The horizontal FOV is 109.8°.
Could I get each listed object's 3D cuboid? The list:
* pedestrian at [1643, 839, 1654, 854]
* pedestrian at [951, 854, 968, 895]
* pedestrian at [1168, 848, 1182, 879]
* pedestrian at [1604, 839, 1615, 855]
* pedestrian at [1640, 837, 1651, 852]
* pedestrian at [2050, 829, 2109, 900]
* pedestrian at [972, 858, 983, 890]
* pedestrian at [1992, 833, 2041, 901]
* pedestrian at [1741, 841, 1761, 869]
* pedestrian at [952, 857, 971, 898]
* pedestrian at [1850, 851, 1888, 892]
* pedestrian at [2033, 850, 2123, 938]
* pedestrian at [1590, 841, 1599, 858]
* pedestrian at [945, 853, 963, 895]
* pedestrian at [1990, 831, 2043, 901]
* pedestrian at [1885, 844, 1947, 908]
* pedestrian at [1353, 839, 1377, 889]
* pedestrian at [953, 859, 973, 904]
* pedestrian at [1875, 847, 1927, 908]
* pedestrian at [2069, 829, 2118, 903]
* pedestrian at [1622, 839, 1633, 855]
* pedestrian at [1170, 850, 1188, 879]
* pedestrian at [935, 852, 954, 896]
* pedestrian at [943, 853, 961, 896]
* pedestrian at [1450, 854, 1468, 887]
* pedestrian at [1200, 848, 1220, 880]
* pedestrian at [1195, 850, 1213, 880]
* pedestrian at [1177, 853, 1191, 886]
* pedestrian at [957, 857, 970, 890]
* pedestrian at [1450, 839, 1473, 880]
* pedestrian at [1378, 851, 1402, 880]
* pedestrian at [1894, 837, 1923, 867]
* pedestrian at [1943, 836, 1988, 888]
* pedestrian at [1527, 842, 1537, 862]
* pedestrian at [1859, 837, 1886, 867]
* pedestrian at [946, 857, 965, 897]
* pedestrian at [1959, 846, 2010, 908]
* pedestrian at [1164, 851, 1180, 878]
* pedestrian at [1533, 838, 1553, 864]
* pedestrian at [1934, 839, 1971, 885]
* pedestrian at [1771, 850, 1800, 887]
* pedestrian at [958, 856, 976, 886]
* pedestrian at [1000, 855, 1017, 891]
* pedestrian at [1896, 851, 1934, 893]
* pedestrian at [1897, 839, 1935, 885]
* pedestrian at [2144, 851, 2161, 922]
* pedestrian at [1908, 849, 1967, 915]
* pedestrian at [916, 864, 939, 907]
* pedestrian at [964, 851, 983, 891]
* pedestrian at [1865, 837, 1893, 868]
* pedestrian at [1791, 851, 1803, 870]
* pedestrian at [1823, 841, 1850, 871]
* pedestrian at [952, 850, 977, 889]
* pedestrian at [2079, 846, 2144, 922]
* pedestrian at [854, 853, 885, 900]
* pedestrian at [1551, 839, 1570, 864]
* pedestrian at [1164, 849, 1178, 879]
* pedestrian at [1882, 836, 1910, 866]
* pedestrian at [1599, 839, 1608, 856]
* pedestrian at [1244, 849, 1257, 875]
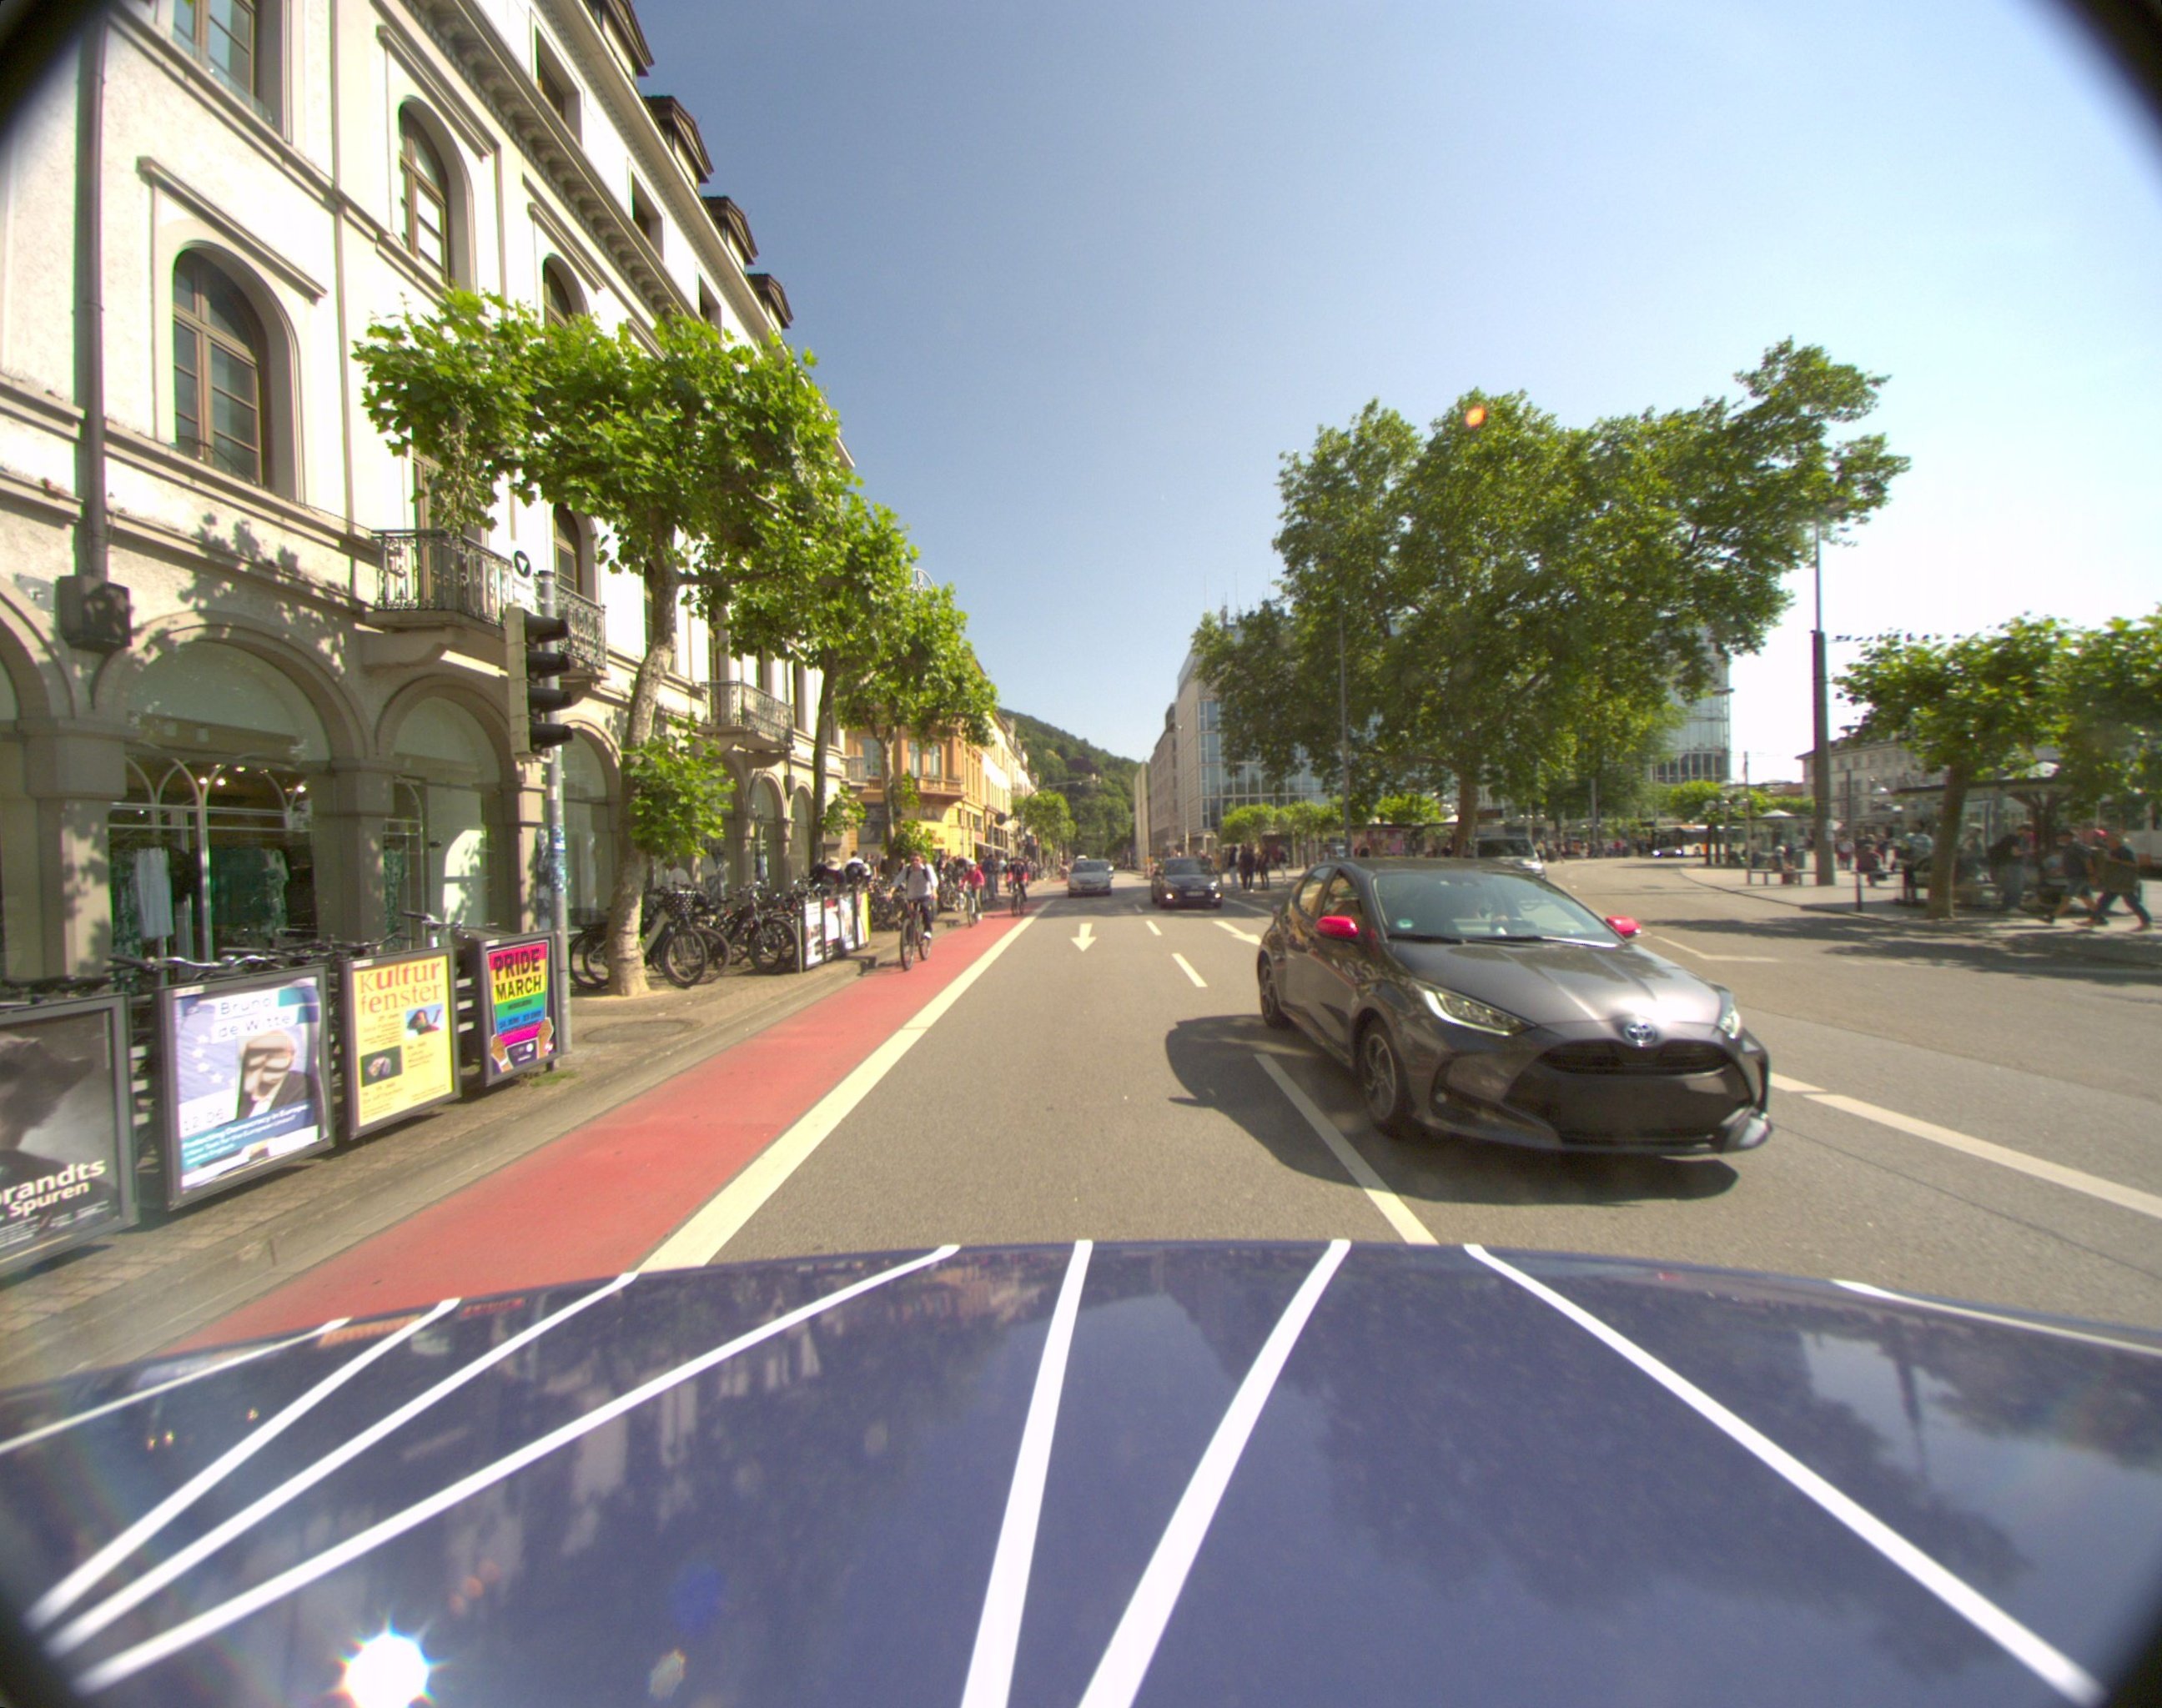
[{"bbox_3d":[56.906,-0.794,76.128,0.756,1.464,0.556,-3,1,28],"label":"pedestrian"},{"bbox_3d":[-5.491,0.929,34.364,0.578,1.792,0.697,-3,1,-2],"label":"pedestrian"},{"bbox_3d":[5.341,0.526,43.156,0.639,1.737,0.733,-3,1,-1],"label":"pedestrian"},{"bbox_3d":[50.760,-0.638,73.033,0.756,1.464,0.556,-3,1,28],"label":"pedestrian"},{"bbox_3d":[54.576,-0.927,73.475,0.756,1.464,0.556,-3,1,28],"label":"pedestrian"},{"bbox_3d":[25.437,0.271,19.364,0.680,1.767,0.578,1,0,4],"label":"pedestrian"},{"bbox_3d":[-5.481,1.070,40.284,0.444,1.679,0.478,-1,1,2],"label":"pedestrian"},{"bbox_3d":[25.729,0.342,20.900,0.577,1.830,0.682,1,0,21],"label":"pedestrian"},{"bbox_3d":[35.812,0.052,40.623,0.554,1.464,0.532,-3,1,8],"label":"pedestrian"},{"bbox_3d":[-4.741,0.928,30.154,0.578,1.574,0.622,-3,1,-2],"label":"pedestrian"},{"bbox_3d":[23.975,0.529,23.121,0.578,1.226,0.553,1,0,-11],"label":"pedestrian"},{"bbox_3d":[17.068,0.666,13.019,0.624,1.457,0.680,1,0,1],"label":"pedestrian"},{"bbox_3d":[45.543,-0.390,67.327,0.554,1.464,0.759,-3,1,37],"label":"pedestrian"},{"bbox_3d":[-5.359,0.843,32.165,0.578,1.729,0.622,-3,1,-2],"label":"pedestrian"},{"bbox_3d":[24.159,0.310,19.628,0.577,1.767,0.682,1,0,21],"label":"pedestrian"},{"bbox_3d":[19.521,0.513,17.775,0.727,1.457,0.682,1,0,21],"label":"pedestrian"},{"bbox_3d":[10.157,0.347,27.193,0.516,1.732,0.518,-3,1,-13],"label":"pedestrian"},{"bbox_3d":[-4.518,1.045,29.097,0.578,1.675,0.775,-3,1,-2],"label":"pedestrian"},{"bbox_3d":[19.957,0.558,18.503,0.623,1.457,0.681,-1,1,21],"label":"pedestrian"},{"bbox_3d":[24.883,0.295,18.679,0.526,1.767,0.486,1,0,0],"label":"pedestrian"},{"bbox_3d":[52.610,-0.686,73.161,0.756,1.464,0.556,-3,1,28],"label":"pedestrian"},{"bbox_3d":[5.997,0.632,46.608,0.876,1.737,0.733,-3,1,-1],"label":"pedestrian"},{"bbox_3d":[-5.398,0.782,30.138,0.578,1.675,0.622,-3,1,-2],"label":"pedestrian"},{"bbox_3d":[-5.340,0.847,31.506,0.578,1.714,0.622,-3,1,-2],"label":"pedestrian"},{"bbox_3d":[14.346,0.627,28.835,0.500,1.199,0.460,-3,1,34],"label":"pedestrian"},{"bbox_3d":[7.169,0.559,42.264,0.722,1.737,0.884,-3,1,-9],"label":"pedestrian"},{"bbox_3d":[7.305,0.669,45.106,0.751,1.737,0.733,-3,1,-9],"label":"pedestrian"},{"bbox_3d":[5.466,0.818,40.302,0.575,1.704,0.652,-3,1,-1],"label":"pedestrian"},{"bbox_3d":[-6.332,1.045,41.126,0.578,1.804,0.605,1,1,1],"label":"pedestrian"},{"bbox_3d":[16.666,0.227,33.278,0.537,1.737,0.613,-3,1,-9],"label":"pedestrian"},{"bbox_3d":[13.534,0.495,33.272,0.672,1.234,0.615,-3,1,-9],"label":"pedestrian"},{"bbox_3d":[40.532,-0.097,37.223,0.757,1.464,0.555,-3,1,0],"label":"pedestrian"},{"bbox_3d":[26.850,0.237,23.079,0.573,1.540,0.657,1,0,3],"label":"pedestrian"},{"bbox_3d":[34.565,-0.169,58.216,0.464,1.464,0.410,-3,1,-1],"label":"pedestrian"},{"bbox_3d":[40.495,-0.092,38.864,0.757,1.464,0.555,-3,1,0],"label":"pedestrian"},{"bbox_3d":[-5.859,1.057,35.450,0.665,1.834,0.622,-3,1,1],"label":"pedestrian"},{"bbox_3d":[21.760,0.553,18.307,0.588,1.457,0.556,1,0,21],"label":"pedestrian"},{"bbox_3d":[5.882,0.678,49.188,0.731,1.737,0.640,-3,1,25],"label":"pedestrian"},{"bbox_3d":[32.006,-0.186,52.641,0.752,1.737,0.782,-3,1,-9],"label":"pedestrian"},{"bbox_3d":[29.486,0.258,25.719,0.678,1.540,0.580,1,0,35],"label":"pedestrian"},{"bbox_3d":[23.990,0.488,25.876,0.497,1.246,0.484,-3,1,-1],"label":"pedestrian"},{"bbox_3d":[-6.909,1.051,46.186,0.733,1.794,0.749,-1,0,23],"label":"pedestrian"},{"bbox_3d":[-3.560,0.914,37.437,0.606,1.726,0.647,-3,2,-22],"label":"pedestrian"},{"bbox_3d":[24.012,0.522,21.876,0.545,1.195,0.526,1,0,-11],"label":"pedestrian"},{"bbox_3d":[28.864,0.271,26.279,0.679,1.540,0.579,1,0,21],"label":"pedestrian"},{"bbox_3d":[21.191,0.625,14.658,0.805,1.363,0.678,1,0,-43],"label":"pedestrian"},{"bbox_3d":[19.377,0.618,17.207,0.623,1.457,0.682,1,0,21],"label":"pedestrian"},{"bbox_3d":[-5.718,1.179,28.314,0.517,1.574,0.584,-3,1,40],"label":"pedestrian"},{"bbox_3d":[-5.043,0.783,35.697,0.686,1.847,0.622,-3,1,-2],"label":"pedestrian"},{"bbox_3d":[40.047,-0.073,38.130,0.757,1.464,0.555,-3,1,0],"label":"pedestrian"},{"bbox_3d":[36.950,0.337,39.215,0.330,0.957,0.335,-4,1,-18],"label":"pedestrian"},{"bbox_3d":[38.451,0.087,38.661,0.757,1.464,0.555,-3,1,0],"label":"pedestrian"},{"bbox_3d":[-5.643,0.761,36.846,0.621,1.834,0.857,-3,1,39],"label":"pedestrian"},{"bbox_3d":[20.525,0.584,15.148,0.626,1.457,0.678,1,0,-43],"label":"pedestrian"},{"bbox_3d":[-8.214,0.845,29.519,0.621,1.748,1.187,-3,1,8],"label":"pedestrian"},{"bbox_3d":[34.382,-0.165,54.471,0.752,1.737,0.782,-3,1,-9],"label":"pedestrian"},{"bbox_3d":[5.427,0.605,45.825,0.639,1.737,0.733,-3,1,-1],"label":"pedestrian"},{"bbox_3d":[41.403,-0.135,38.587,0.757,1.464,0.555,-3,1,0],"label":"pedestrian"},{"bbox_3d":[45.891,-0.570,66.673,0.554,1.464,0.759,-3,1,37],"label":"pedestrian"},{"bbox_3d":[11.164,0.527,50.095,0.732,1.660,0.640,-3,1,14],"label":"pedestrian"}]
